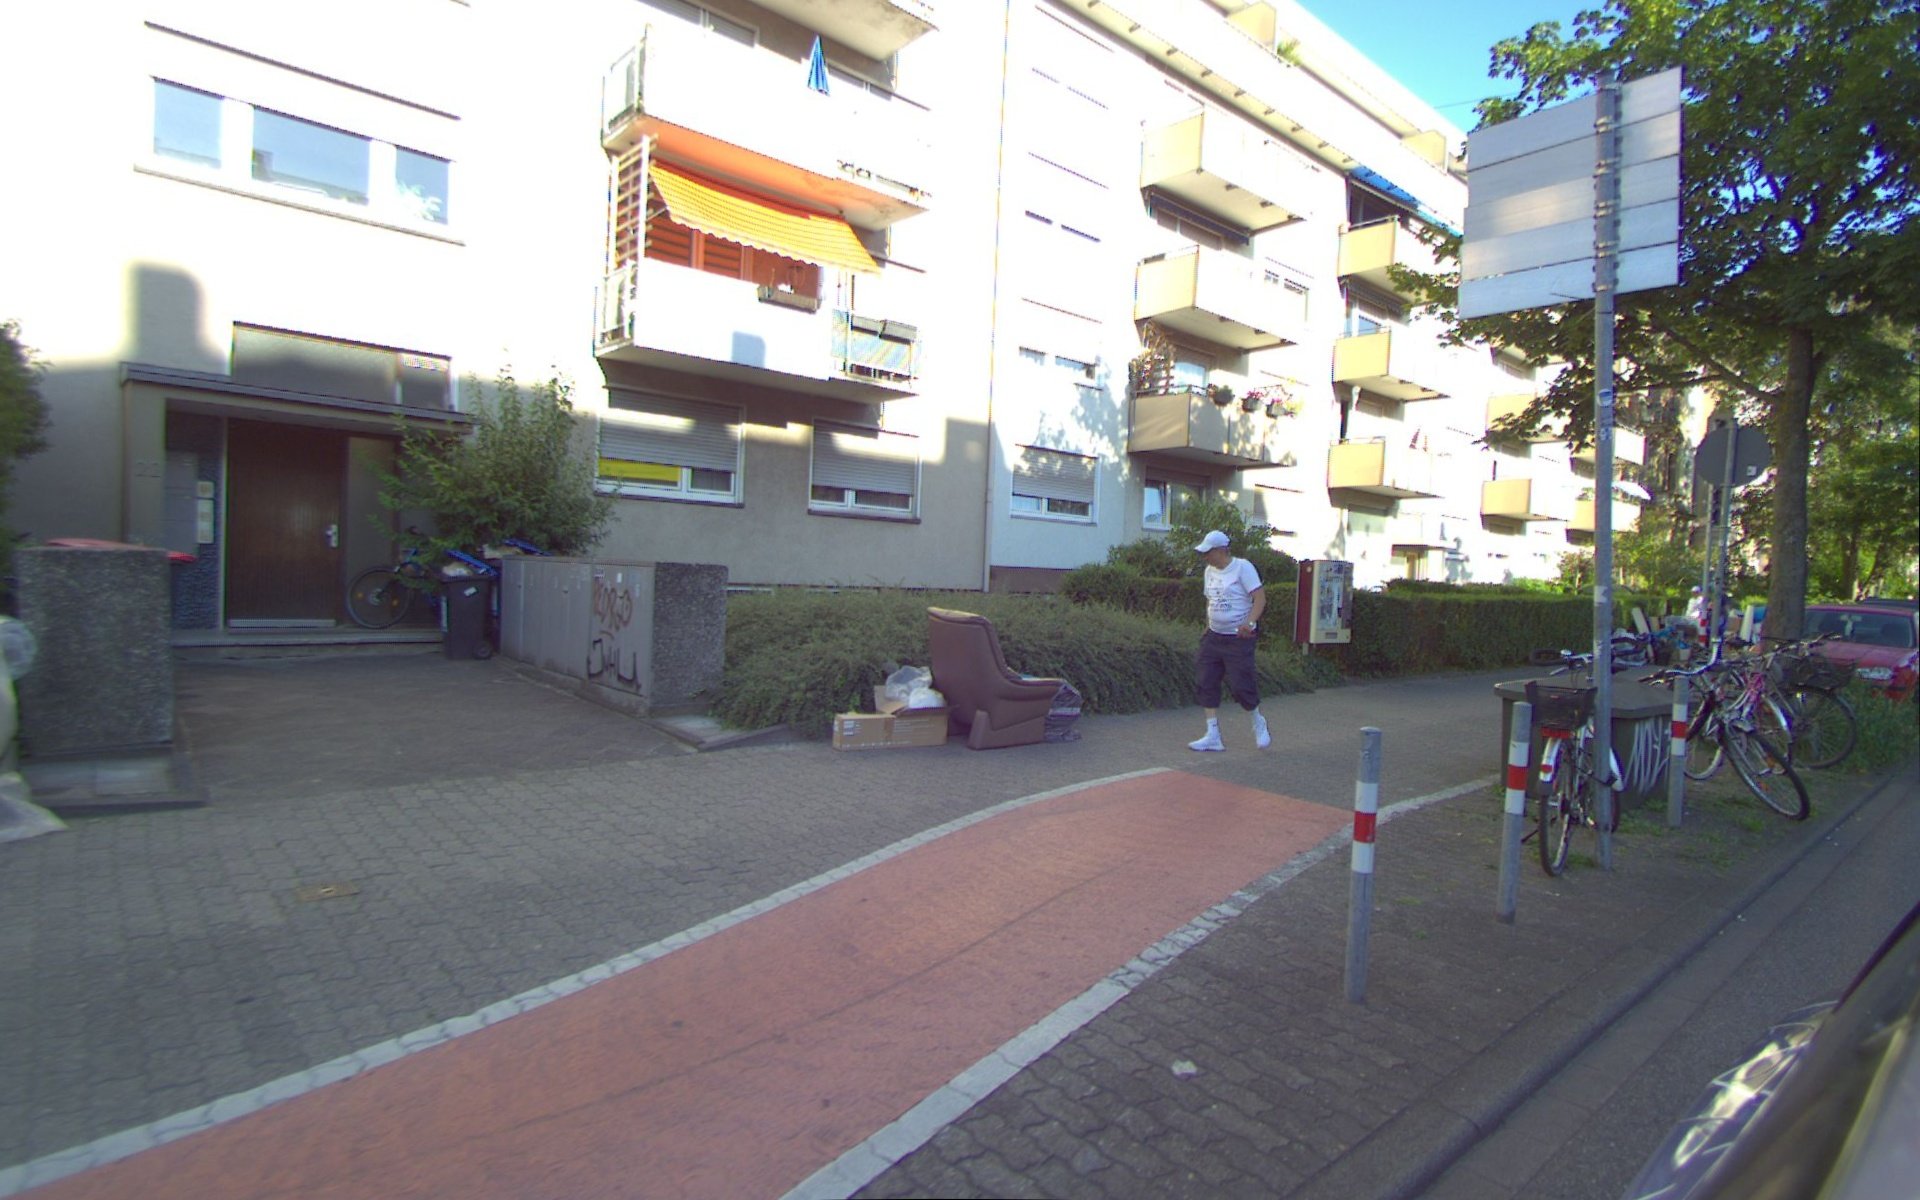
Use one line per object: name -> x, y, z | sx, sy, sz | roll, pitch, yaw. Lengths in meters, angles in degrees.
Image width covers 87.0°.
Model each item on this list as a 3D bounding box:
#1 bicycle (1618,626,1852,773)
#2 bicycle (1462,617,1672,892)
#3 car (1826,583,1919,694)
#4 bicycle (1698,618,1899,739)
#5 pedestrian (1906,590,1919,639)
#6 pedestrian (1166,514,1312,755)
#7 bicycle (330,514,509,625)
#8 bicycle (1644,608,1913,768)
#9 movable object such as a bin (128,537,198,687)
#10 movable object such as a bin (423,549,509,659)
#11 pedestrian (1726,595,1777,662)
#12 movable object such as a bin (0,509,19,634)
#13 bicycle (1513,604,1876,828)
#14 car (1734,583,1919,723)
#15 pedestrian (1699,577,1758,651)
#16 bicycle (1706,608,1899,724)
bicycle -> 6.174, 0.773, 8.079 | 1.540, 1.064, 0.622 | 2, 2, -15
bicycle -> 3.332, 0.720, 5.465 | 0.502, 1.161, 1.928 | 7, 5, 43
car -> 15.892, 0.610, 16.686 | 3.944, 1.600, 1.860 | 0, 4, -42
bicycle -> 9.021, 0.799, 10.946 | 0.492, 1.117, 1.574 | 1, 2, -39
pedestrian -> 36.033, 0.548, 37.873 | 0.821, 1.795, 1.071 | 3, 2, 45
pedestrian -> 2.173, 0.238, 7.907 | 0.757, 1.770, 0.665 | 1, 3, -35
bicycle -> -6.190, -0.333, 11.662 | 1.764, 1.197, 0.357 | 0, 2, -41
bicycle -> 7.165, 0.717, 8.956 | 0.507, 1.120, 1.694 | 1, 5, -34
movable object such as a bin -> -6.355, 0.075, 8.066 | 0.410, 1.141, 0.633 | 1, 2, -40
movable object such as a bin -> -5.220, 0.032, 10.688 | 0.643, 1.100, 0.743 | 1, 2, -40
pedestrian -> 19.259, 0.690, 24.623 | 0.682, 1.559, 0.594 | 2, 2, -4
movable object such as a bin -> -8.911, -0.265, 9.342 | 0.311, 1.141, 0.199 | 1, 2, -43
bicycle -> 4.991, 0.707, 7.023 | 0.670, 1.171, 1.842 | 1, 5, -34
car -> 11.909, 0.610, 13.280 | 3.939, 1.467, 1.709 | 1, 4, -37
pedestrian -> 17.916, 0.313, 23.615 | 0.742, 1.660, 0.697 | 2, 2, -5
bicycle -> 9.362, 0.696, 11.300 | 0.385, 1.117, 1.574 | 1, 2, -39
